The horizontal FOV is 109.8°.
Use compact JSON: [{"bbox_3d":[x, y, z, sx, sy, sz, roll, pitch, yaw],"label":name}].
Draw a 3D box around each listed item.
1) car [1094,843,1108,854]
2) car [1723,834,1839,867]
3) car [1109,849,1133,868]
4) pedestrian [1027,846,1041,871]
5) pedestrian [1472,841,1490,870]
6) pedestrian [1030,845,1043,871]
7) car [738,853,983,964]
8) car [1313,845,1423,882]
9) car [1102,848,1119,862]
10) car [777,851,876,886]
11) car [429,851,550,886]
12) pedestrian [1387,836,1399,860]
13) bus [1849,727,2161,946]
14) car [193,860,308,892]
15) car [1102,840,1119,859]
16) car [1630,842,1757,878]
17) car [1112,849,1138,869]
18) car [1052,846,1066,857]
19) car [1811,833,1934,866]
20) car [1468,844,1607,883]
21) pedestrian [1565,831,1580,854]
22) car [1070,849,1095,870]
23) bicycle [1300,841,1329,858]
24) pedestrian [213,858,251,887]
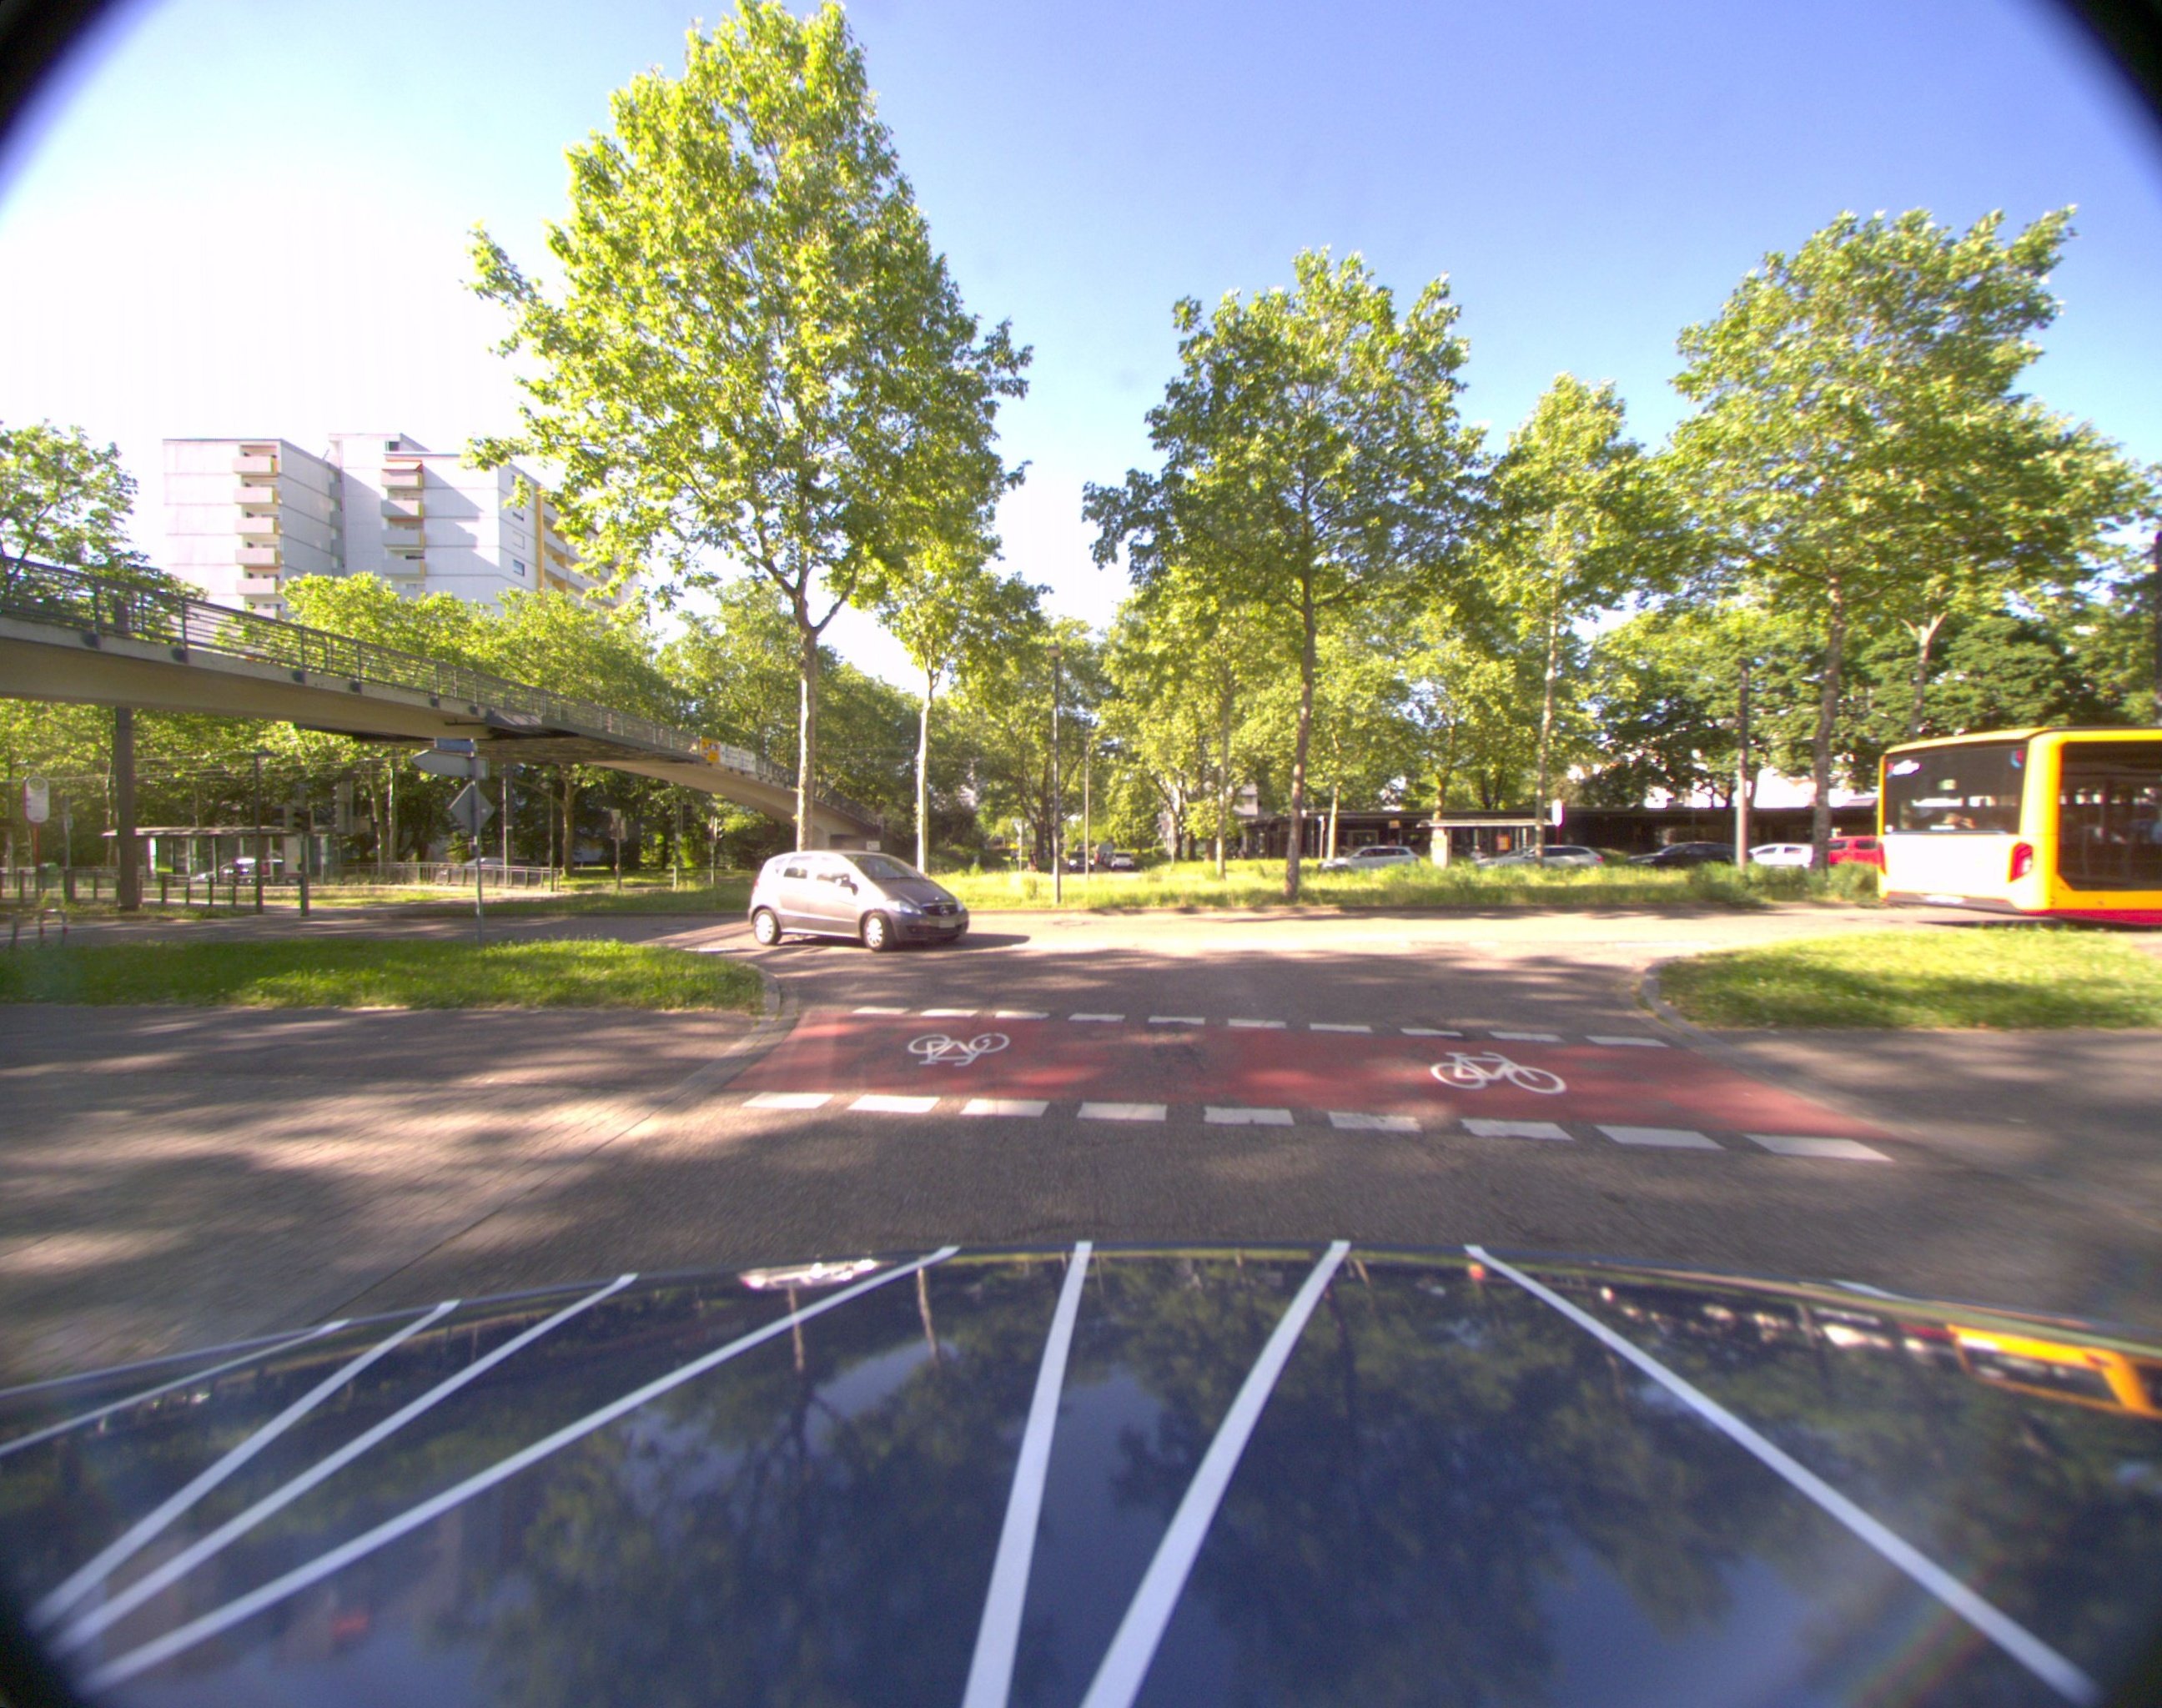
[{"bbox_3d":[3.001,-0.840,114.876,1.864,1.501,3.999,-1,1,0],"label":"car"},{"bbox_3d":[34.179,-0.188,37.169,1.803,1.501,3.988,-1,1,-41],"label":"car"},{"bbox_3d":[3.368,0.384,64.613,1.799,1.501,3.999,-1,1,0],"label":"car"},{"bbox_3d":[-3.206,0.329,51.821,0.648,1.696,0.651,0,1,27],"label":"pedestrian"},{"bbox_3d":[20.076,0.070,38.150,0.649,1.451,0.650,0,1,8],"label":"pedestrian"},{"bbox_3d":[-3.076,0.244,52.536,0.648,1.773,0.651,0,1,27],"label":"pedestrian"},{"bbox_3d":[-3.714,0.813,12.730,3.753,1.580,1.803,-1,1,30],"label":"car"},{"bbox_3d":[12.656,0.405,33.731,4.282,1.571,1.801,-1,1,6],"label":"car"},{"bbox_3d":[3.335,0.080,85.761,1.799,1.501,3.999,-1,1,0],"label":"car"},{"bbox_3d":[-11.741,0.629,35.289,4.088,1.501,1.798,-1,1,-9],"label":"car"},{"bbox_3d":[-27.938,0.675,35.984,4.285,1.557,1.800,-1,1,0],"label":"car"},{"bbox_3d":[22.455,-0.430,54.709,0.649,1.652,0.650,-1,1,1],"label":"pedestrian"},{"bbox_3d":[20.435,-0.315,12.359,12.203,3.248,2.910,-1,1,5],"label":"bus"},{"bbox_3d":[-43.481,1.157,39.813,4.282,1.557,1.800,-1,1,5],"label":"car"},{"bbox_3d":[3.924,-0.575,101.180,2.061,2.422,5.008,-1,1,0],"label":"car"},{"bbox_3d":[26.686,0.259,33.220,3.995,1.501,1.801,-1,1,7],"label":"car"},{"bbox_3d":[3.350,0.372,58.938,1.799,1.501,3.999,-1,1,0],"label":"car"},{"bbox_3d":[-2.904,-0.362,101.124,1.799,1.501,3.999,-1,1,0],"label":"car"},{"bbox_3d":[38.003,-0.226,36.543,1.803,1.501,3.988,-1,1,-41],"label":"car"},{"bbox_3d":[18.850,0.373,31.530,4.670,1.501,1.800,-1,1,3],"label":"car"},{"bbox_3d":[35.503,-0.811,54.864,0.649,1.652,0.650,-1,1,1],"label":"pedestrian"},{"bbox_3d":[0.109,0.414,57.641,1.799,1.501,3.999,-1,1,0],"label":"car"},{"bbox_3d":[15.819,-0.301,51.454,1.799,1.101,0.556,-1,1,-3],"label":"bicycle"},{"bbox_3d":[-37.295,0.811,33.389,0.721,1.231,0.780,-1,1,4],"label":"pedestrian"}]
